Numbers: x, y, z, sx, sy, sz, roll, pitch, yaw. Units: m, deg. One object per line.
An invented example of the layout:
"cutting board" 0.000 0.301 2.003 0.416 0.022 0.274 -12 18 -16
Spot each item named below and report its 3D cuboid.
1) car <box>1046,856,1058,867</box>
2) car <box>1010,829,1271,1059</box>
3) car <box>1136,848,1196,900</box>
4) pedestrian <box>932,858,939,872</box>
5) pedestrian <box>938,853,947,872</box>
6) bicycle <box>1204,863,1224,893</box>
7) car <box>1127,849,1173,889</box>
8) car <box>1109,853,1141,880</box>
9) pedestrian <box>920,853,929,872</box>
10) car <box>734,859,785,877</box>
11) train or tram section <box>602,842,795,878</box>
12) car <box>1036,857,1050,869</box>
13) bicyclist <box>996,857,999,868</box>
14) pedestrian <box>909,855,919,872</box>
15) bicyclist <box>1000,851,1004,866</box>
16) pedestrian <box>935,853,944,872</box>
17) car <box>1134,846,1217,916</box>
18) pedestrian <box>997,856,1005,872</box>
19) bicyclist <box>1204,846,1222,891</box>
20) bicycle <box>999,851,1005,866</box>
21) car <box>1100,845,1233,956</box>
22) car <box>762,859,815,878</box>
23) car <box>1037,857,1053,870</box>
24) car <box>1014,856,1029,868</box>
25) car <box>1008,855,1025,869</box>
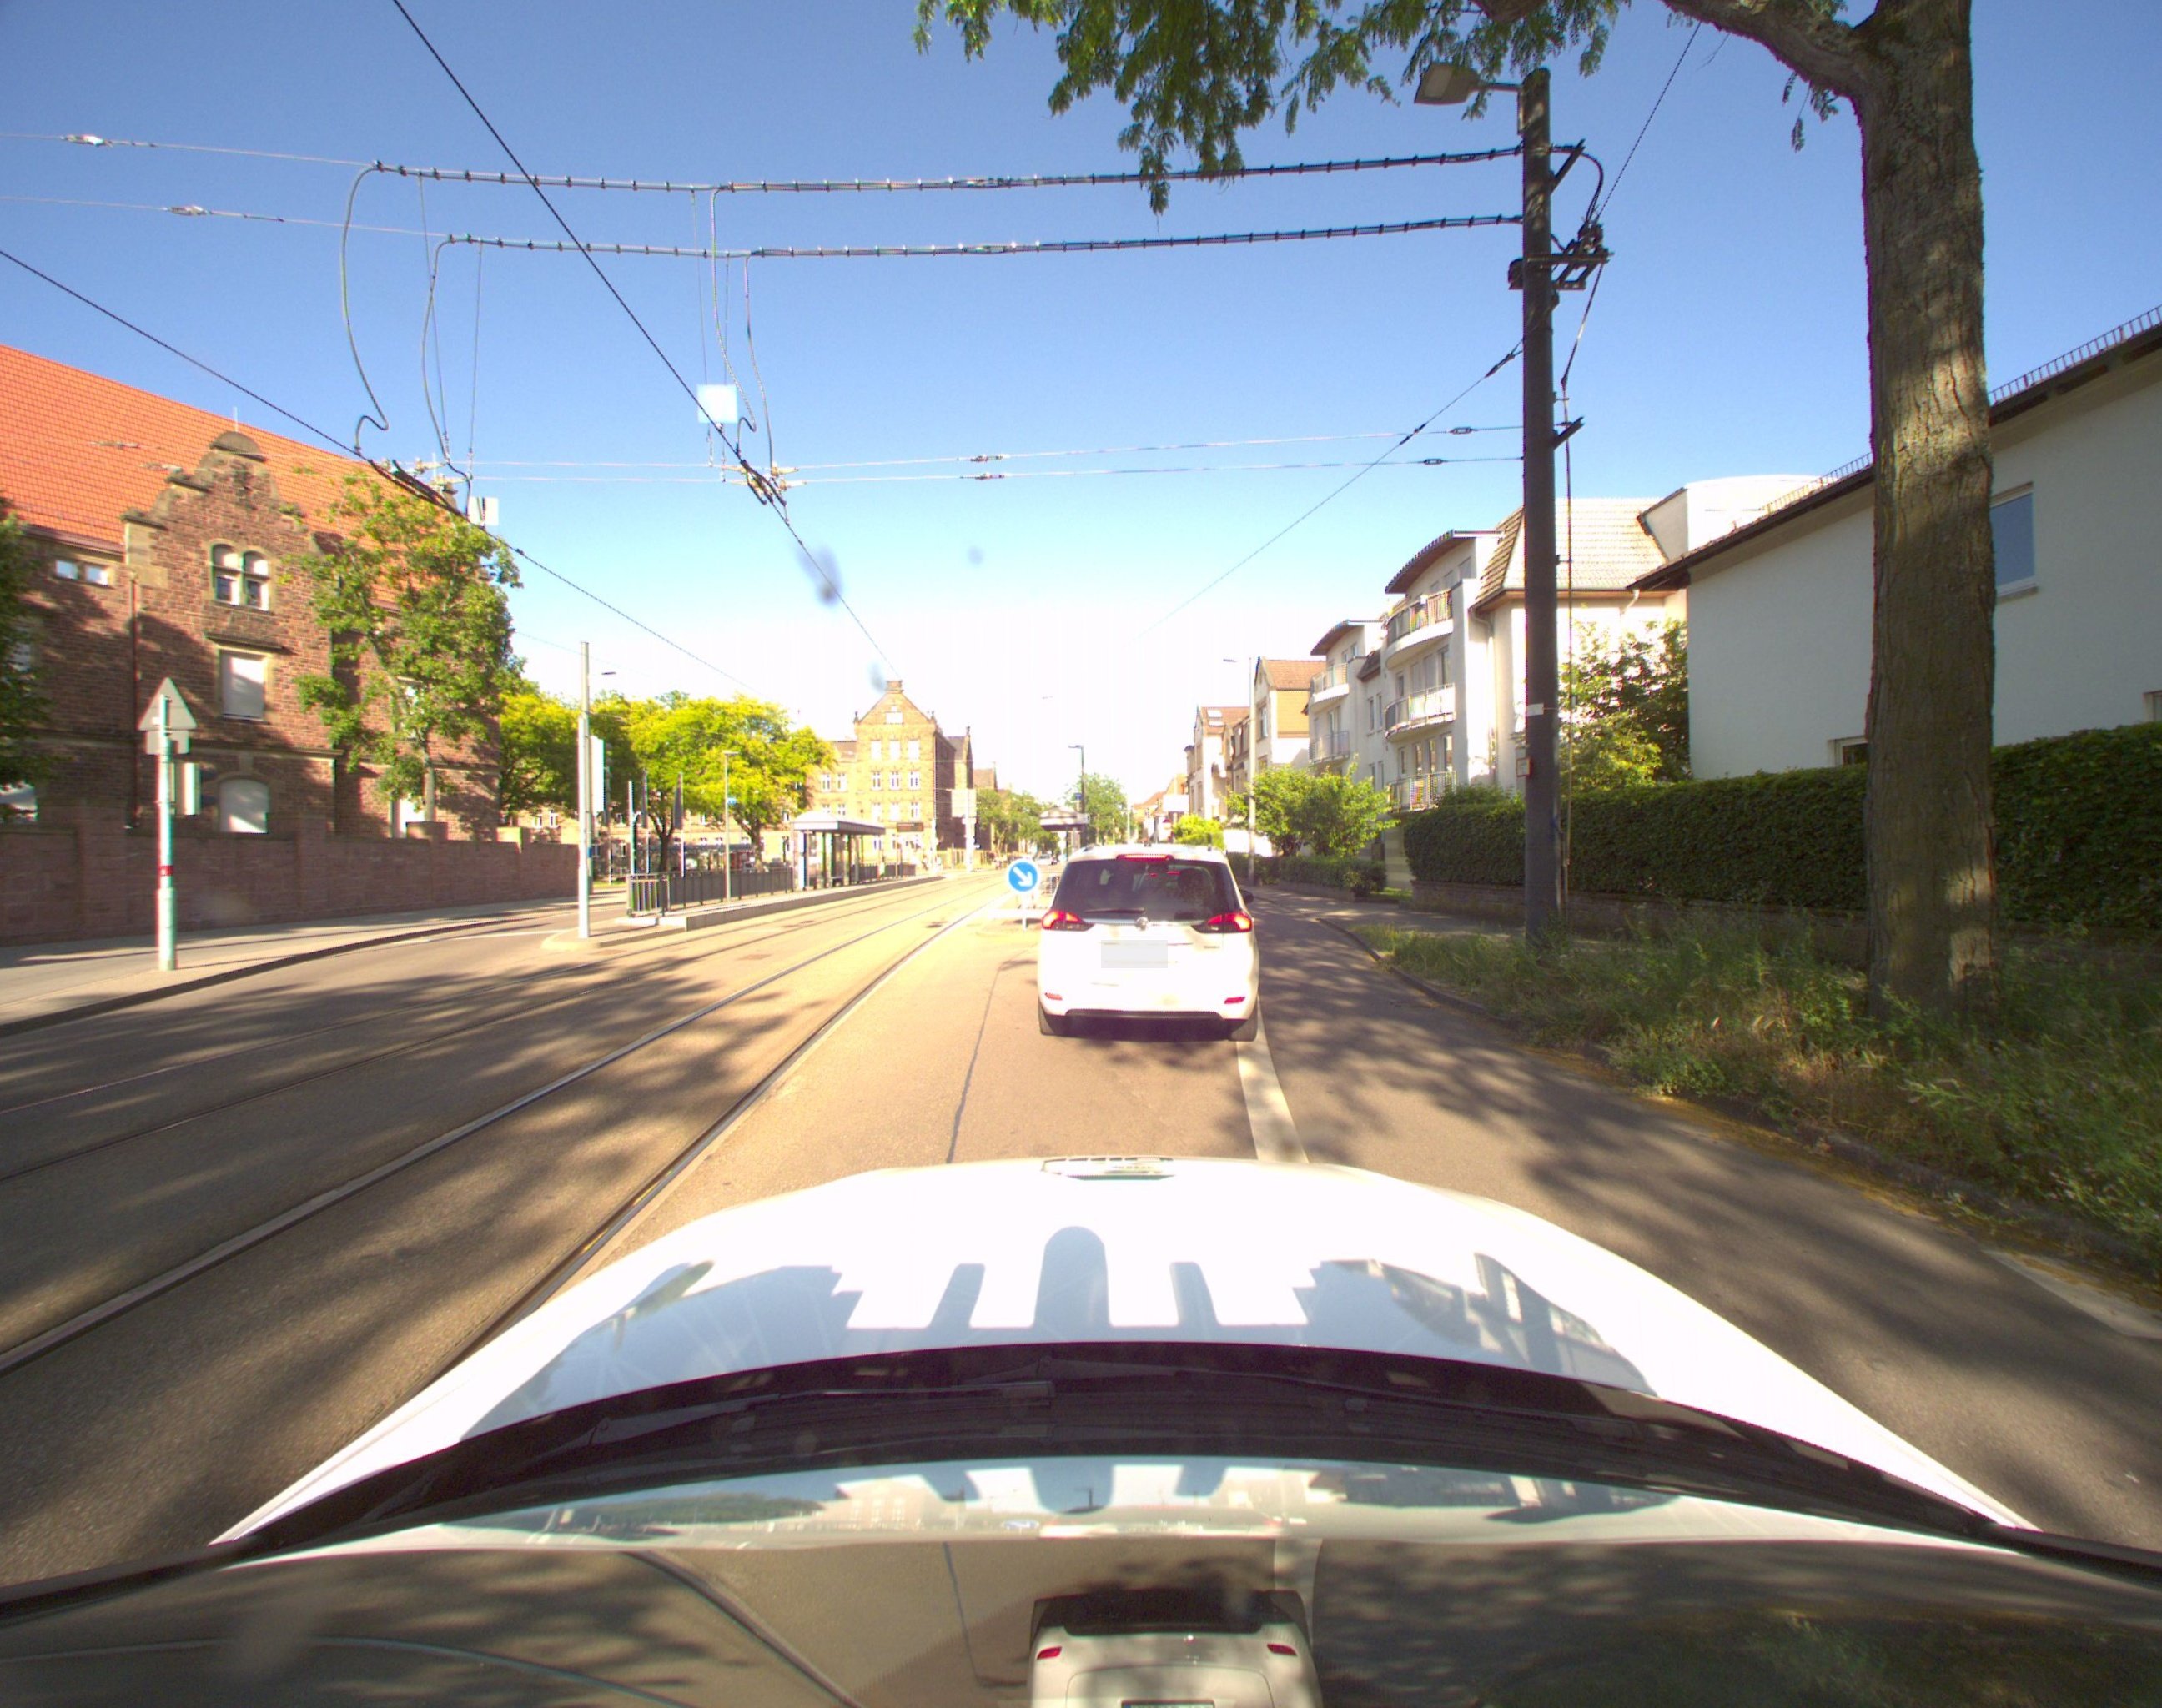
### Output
"car" -4.603 1.192 129.389 1.740 1.716 4.001 0 -1 2
"car" 0.738 0.663 7.992 1.896 1.661 4.010 -1 0 9
"car" 2.976 0.653 28.338 1.897 1.661 4.007 -1 0 6
"pedestrian" -17.159 1.263 95.903 0.651 1.612 0.712 0 -1 4
"pedestrian" -14.551 0.874 85.507 0.796 2.014 0.717 0 -1 -15
"bicycle" 5.027 0.889 30.942 0.621 1.097 1.977 -1 0 6
"car" 2.997 0.618 36.181 1.899 1.661 4.003 -1 0 3
"car" 2.843 0.755 53.174 1.901 1.661 4.000 -1 0 0
"pedestrian" -17.062 0.947 88.941 0.800 2.014 0.713 0 -1 -32
"car" -29.652 1.319 75.206 3.976 1.630 1.817 0 -1 -2
"train or tram section" -37.843 0.581 81.139 17.346 3.154 3.344 -1 -1 -3
"car" -5.370 1.297 115.543 1.740 1.716 4.001 0 -1 2
"bicyclist" -10.665 1.065 103.491 0.312 1.444 0.384 -1 0 1
"pedestrian" -18.363 1.041 89.623 0.802 1.901 0.747 -1 -1 16
"bicyclist" -10.603 0.551 109.584 0.496 2.013 0.572 -1 0 1
"pedestrian" -15.554 0.941 89.527 0.801 2.014 0.713 0 -1 -35
"car" 2.522 0.639 21.066 1.896 1.624 4.010 -1 0 9
"pedestrian" -9.541 1.141 96.932 0.744 1.901 0.805 0 -1 -21
"bicyclist" 5.016 0.539 30.921 0.613 1.686 0.780 -1 0 6
"bicycle" -10.613 0.551 109.556 0.485 2.013 1.406 -1 0 2
"car" 1.559 0.687 13.860 1.896 1.597 4.010 -1 0 9
"car" -25.445 1.243 70.963 3.976 1.630 1.817 0 -1 -2
"car" -4.707 1.265 107.664 1.740 1.716 4.001 0 -1 2
"car" -8.330 1.125 114.111 1.740 1.716 4.001 0 -1 2
"car" -8.499 1.039 107.444 1.740 1.716 4.001 0 -1 2
